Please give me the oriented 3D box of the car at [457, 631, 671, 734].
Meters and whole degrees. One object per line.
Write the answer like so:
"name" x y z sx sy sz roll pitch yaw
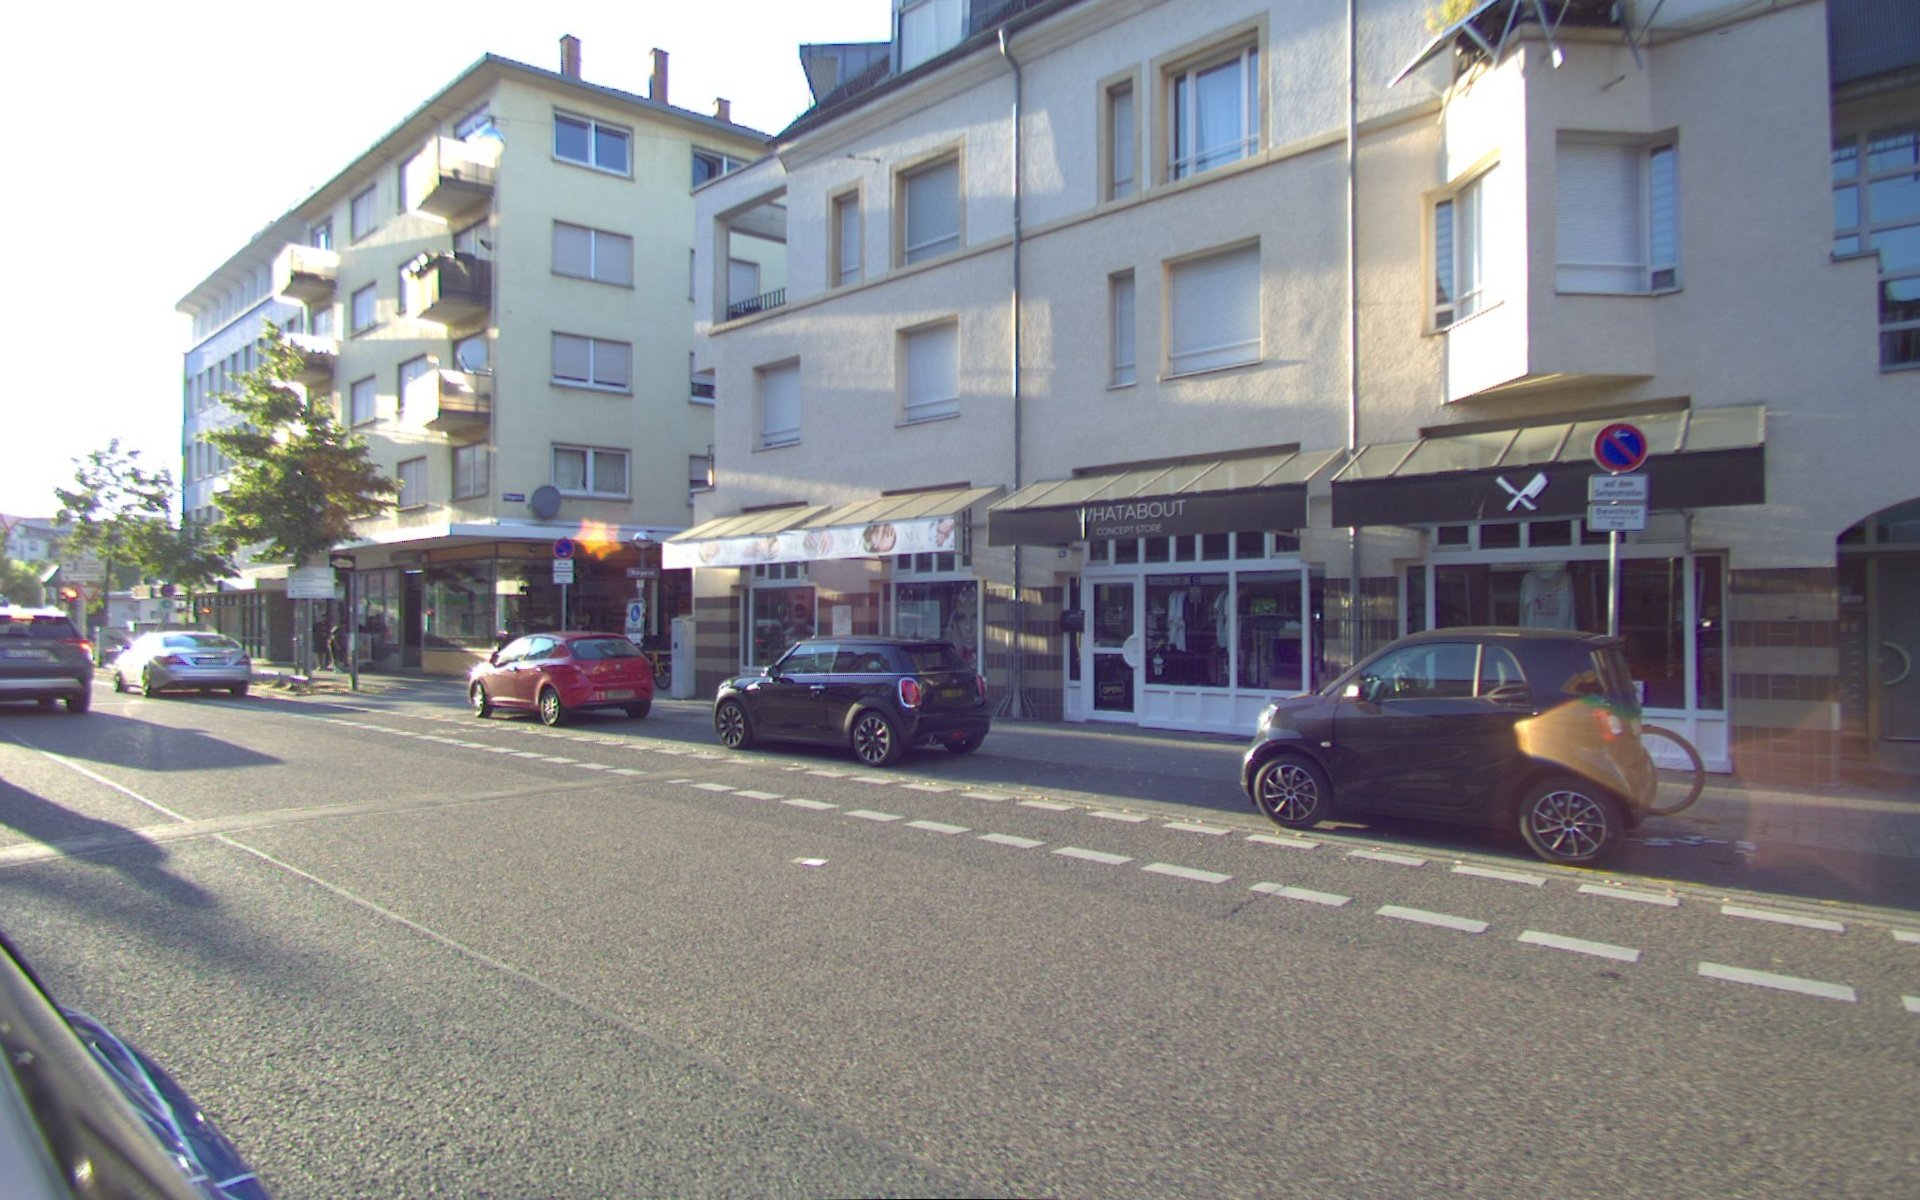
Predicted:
"car" -6.590 1.270 16.667 3.881 1.413 1.644 -1 0 40

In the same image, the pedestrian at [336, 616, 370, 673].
"pedestrian" -19.689 1.446 32.812 0.813 1.833 0.732 -3 -3 42

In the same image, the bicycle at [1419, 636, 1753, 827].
"bicycle" 5.264 1.029 8.645 2.357 1.385 0.604 -1 0 40

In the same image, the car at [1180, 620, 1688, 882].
"car" 3.526 0.940 7.684 3.184 1.547 1.775 -1 -2 38

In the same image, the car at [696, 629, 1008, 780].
"car" -1.399 1.132 12.306 3.723 1.464 1.693 -1 0 41

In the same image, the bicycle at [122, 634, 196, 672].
"bicycle" -28.233 1.861 35.683 0.491 1.228 1.989 -1 0 40

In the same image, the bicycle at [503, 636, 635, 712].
"bicycle" -7.624 1.390 19.640 3.123 1.310 0.949 -1 0 39

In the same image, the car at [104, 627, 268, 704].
"car" -17.382 1.413 22.652 4.506 1.523 1.973 -1 -4 41

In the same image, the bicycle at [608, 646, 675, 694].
"bicycle" -7.225 1.564 22.894 2.015 0.999 0.484 -1 0 42

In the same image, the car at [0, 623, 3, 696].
"car" -21.475 1.236 21.140 4.463 1.561 1.705 -1 -2 41

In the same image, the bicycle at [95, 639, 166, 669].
"bicycle" -30.962 1.999 37.818 0.490 0.999 1.991 -1 0 36

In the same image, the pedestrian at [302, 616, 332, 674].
"pedestrian" -21.091 1.477 33.187 0.758 1.862 0.744 1 -3 -40

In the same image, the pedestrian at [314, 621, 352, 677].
"pedestrian" -19.473 1.511 31.460 0.758 1.689 0.744 0 -1 -7

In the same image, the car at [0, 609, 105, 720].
"car" -15.910 0.991 16.779 4.736 1.657 1.920 -1 -2 41
